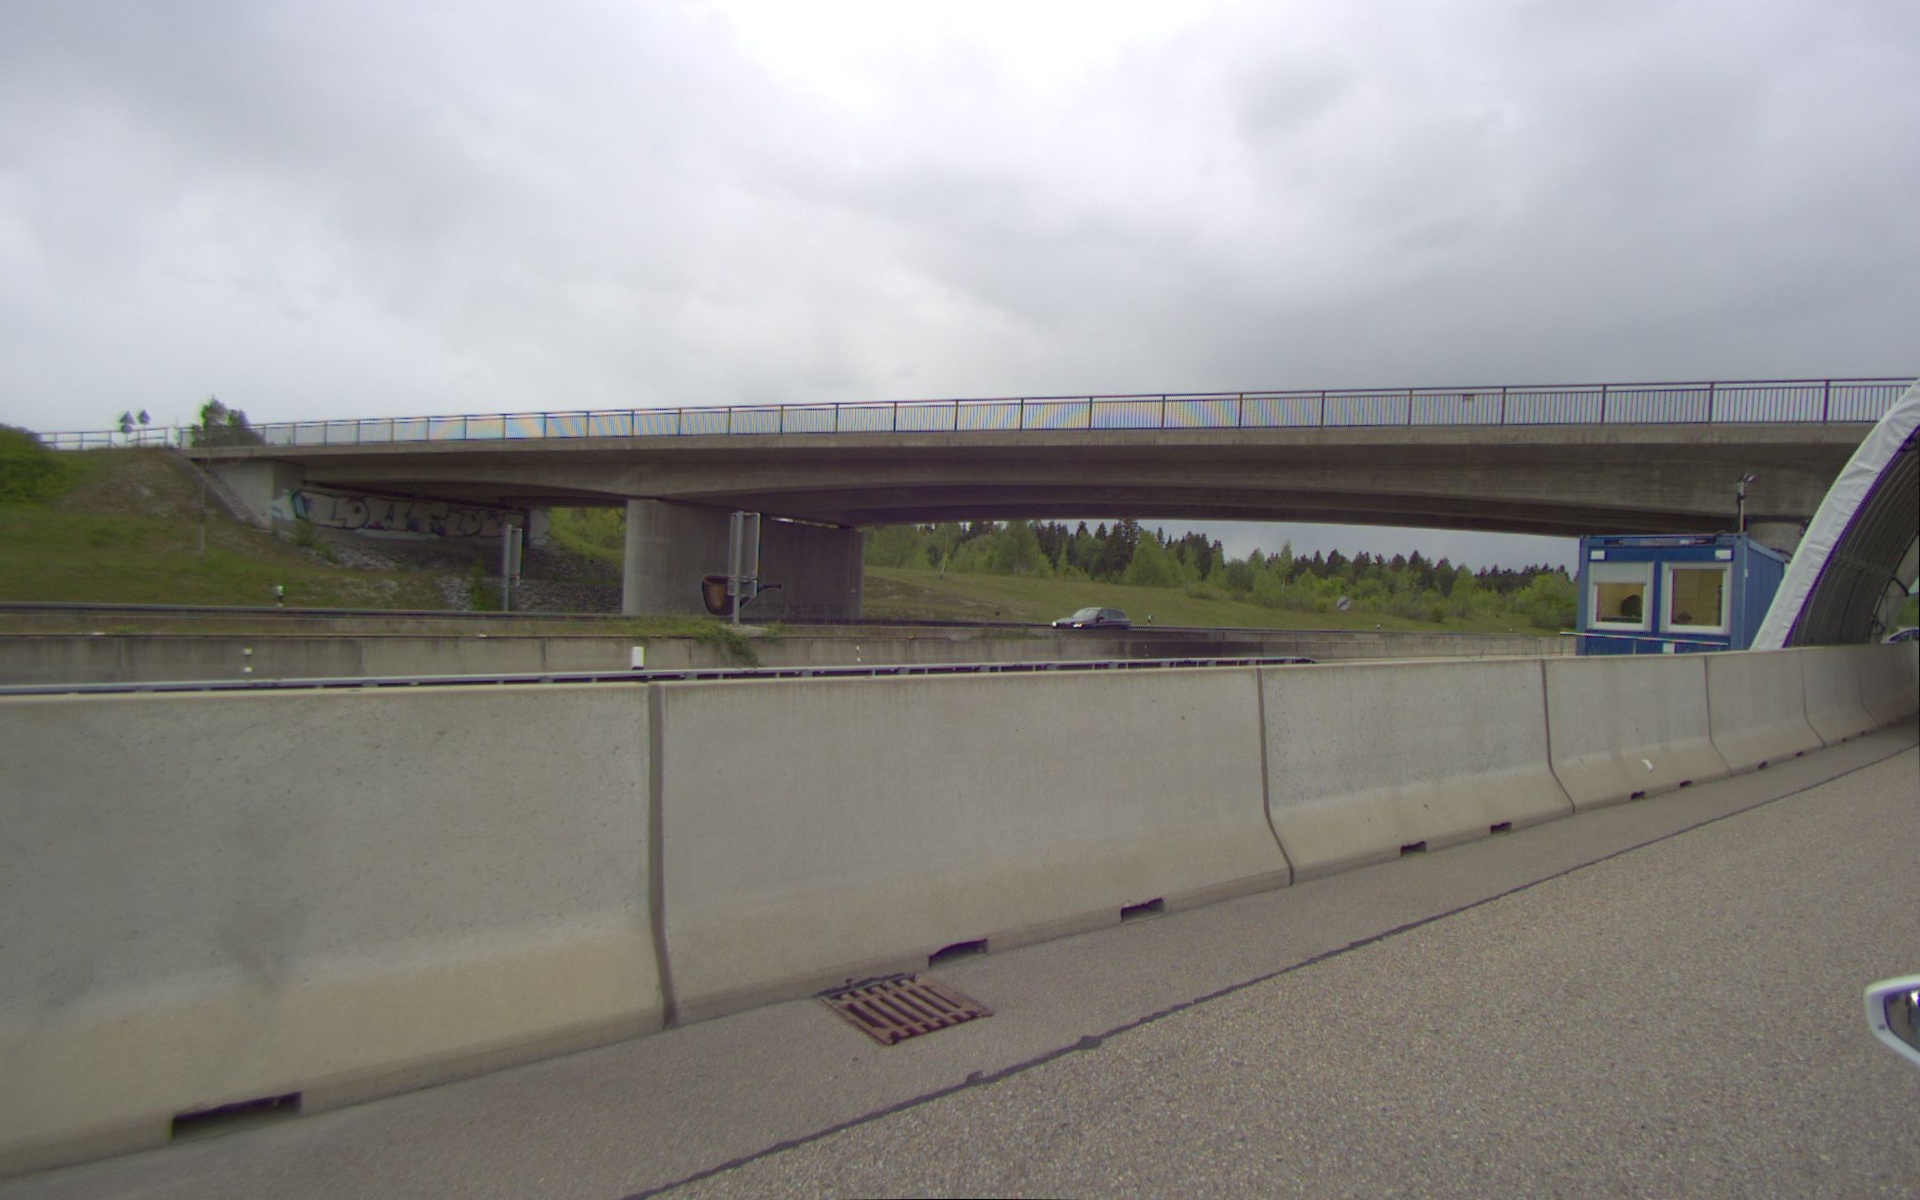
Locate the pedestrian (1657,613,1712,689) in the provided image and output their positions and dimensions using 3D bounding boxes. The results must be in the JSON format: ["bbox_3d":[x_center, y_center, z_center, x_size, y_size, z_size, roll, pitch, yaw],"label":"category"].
[{"bbox_3d":[13.633,0.953,18.907,0.618,1.391,0.609,2,-1,-21],"label":"pedestrian"}]

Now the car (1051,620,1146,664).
[{"bbox_3d":[6.806,2.047,48.932,1.964,1.981,5.079,0,-2,44],"label":"car"}]

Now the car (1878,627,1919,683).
[{"bbox_3d":[36.693,2.050,36.362,1.814,2.040,4.797,2,-1,-22],"label":"car"}]
